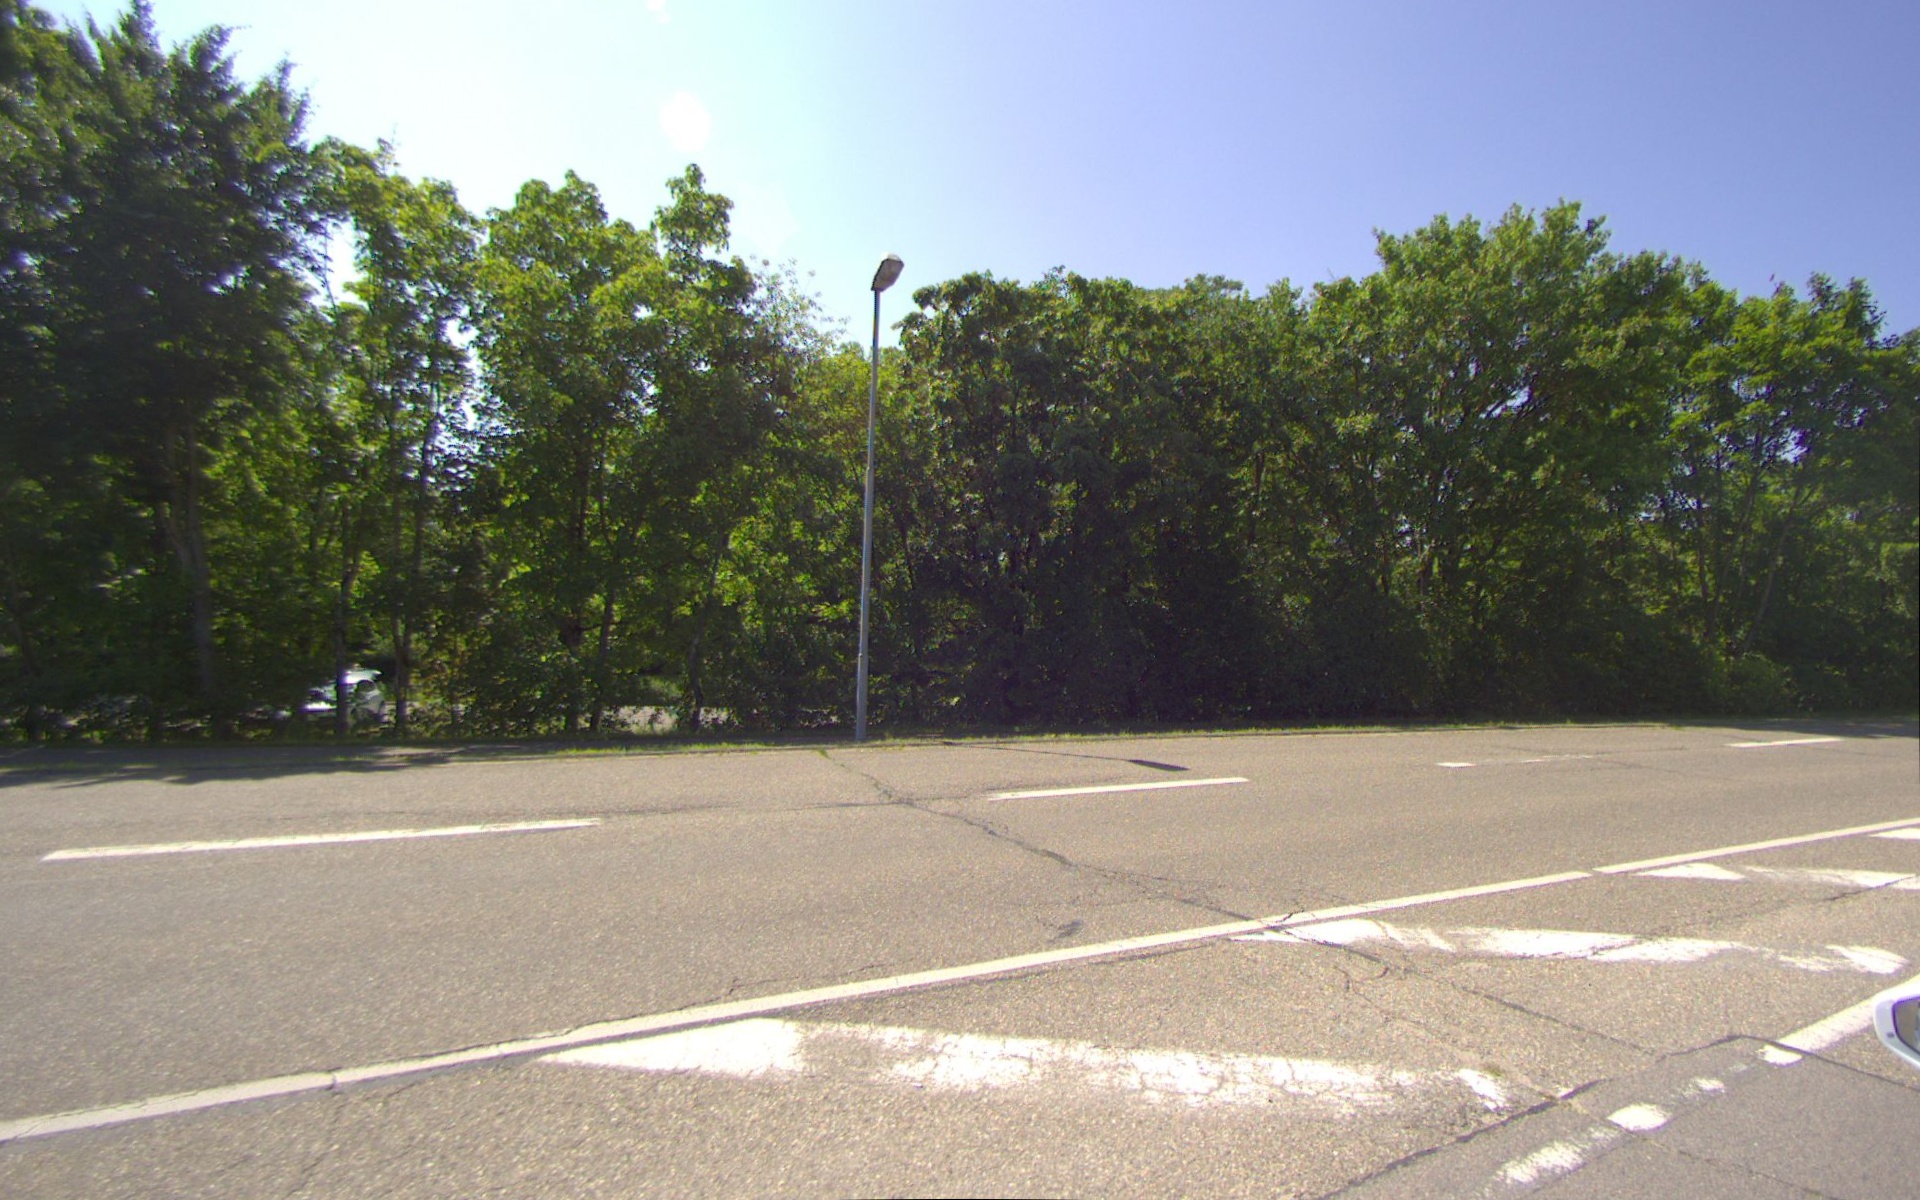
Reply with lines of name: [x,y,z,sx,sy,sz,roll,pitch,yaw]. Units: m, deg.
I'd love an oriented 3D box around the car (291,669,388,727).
car: [-19.092,2.985,31.073,1.729,1.512,4.099,3,-3,-21]
